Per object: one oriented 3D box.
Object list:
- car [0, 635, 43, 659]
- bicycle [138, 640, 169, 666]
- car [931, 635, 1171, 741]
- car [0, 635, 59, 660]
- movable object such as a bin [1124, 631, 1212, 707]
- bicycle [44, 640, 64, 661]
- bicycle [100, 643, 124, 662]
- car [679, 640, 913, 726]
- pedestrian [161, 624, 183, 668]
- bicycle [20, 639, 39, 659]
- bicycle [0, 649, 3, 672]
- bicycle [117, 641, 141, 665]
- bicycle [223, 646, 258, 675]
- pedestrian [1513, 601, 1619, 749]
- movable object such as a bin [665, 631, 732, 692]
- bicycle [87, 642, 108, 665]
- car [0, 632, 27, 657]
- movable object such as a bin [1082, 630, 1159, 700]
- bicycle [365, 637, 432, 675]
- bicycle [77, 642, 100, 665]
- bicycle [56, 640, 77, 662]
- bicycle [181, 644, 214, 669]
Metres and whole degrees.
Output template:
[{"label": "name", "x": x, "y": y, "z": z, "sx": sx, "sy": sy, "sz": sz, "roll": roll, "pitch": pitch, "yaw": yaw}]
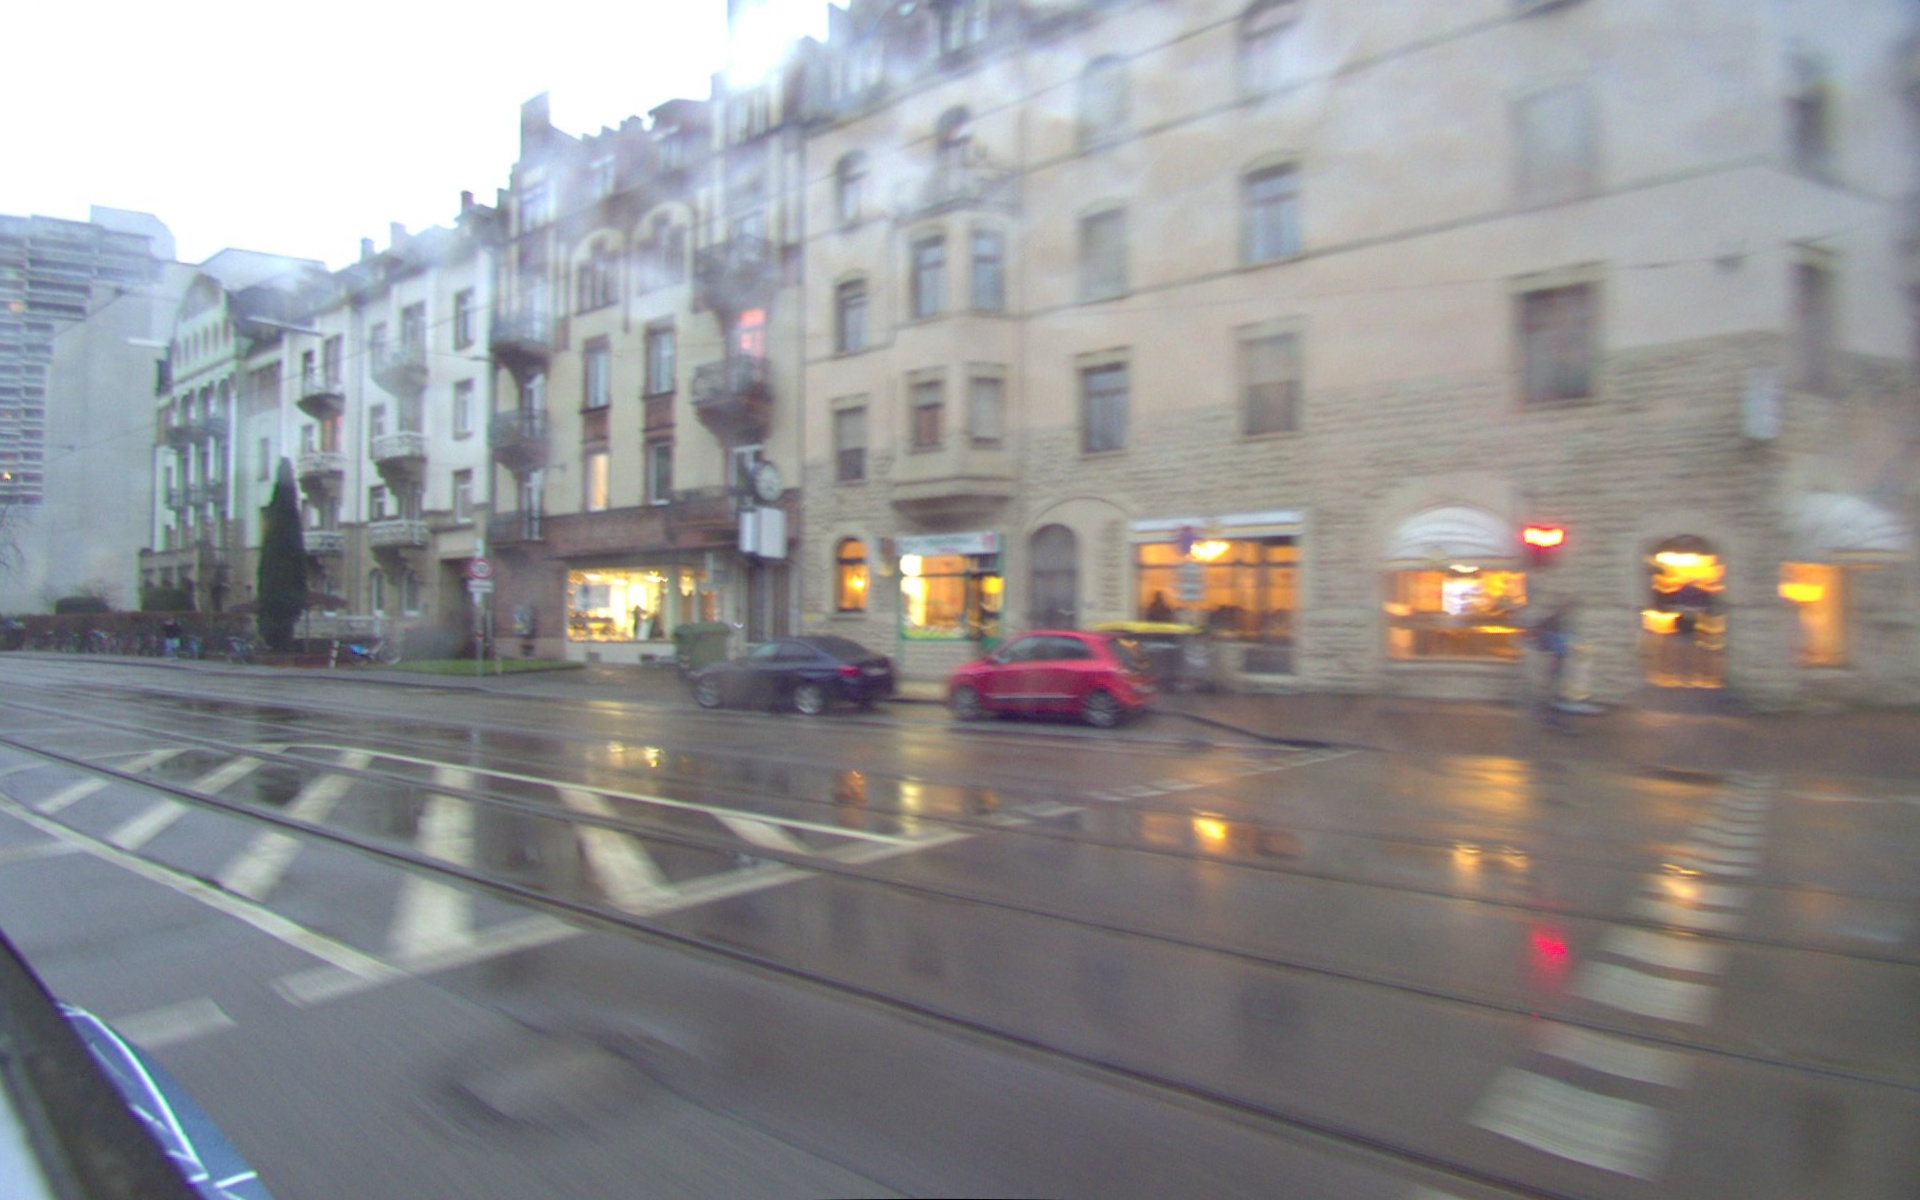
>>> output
[{"label": "car", "x": -56.997, "y": 2.760, "z": 59.860, "sx": 1.724, "sy": 1.424, "sz": 3.795, "roll": -2, "pitch": -3, "yaw": 37}, {"label": "bicycle", "x": -33.896, "y": 2.229, "z": 42.529, "sx": 2.206, "sy": 1.014, "sz": 0.479, "roll": -1, "pitch": 1, "yaw": 38}, {"label": "car", "x": 1.510, "y": 1.401, "z": 17.052, "sx": 3.665, "sy": 1.528, "sz": 1.660, "roll": -1, "pitch": 1, "yaw": 31}, {"label": "car", "x": -54.751, "y": 2.725, "z": 58.411, "sx": 1.724, "sy": 1.424, "sz": 3.795, "roll": -1, "pitch": -2, "yaw": 37}, {"label": "movable object such as a bin", "x": 4.159, "y": 1.339, "z": 20.214, "sx": 1.278, "sy": 1.382, "sz": 1.337, "roll": -1, "pitch": 1, "yaw": 35}, {"label": "bicycle", "x": -45.797, "y": 2.529, "z": 51.149, "sx": 1.878, "sy": 1.014, "sz": 0.430, "roll": -1, "pitch": 1, "yaw": 38}, {"label": "bicycle", "x": -38.156, "y": 2.355, "z": 45.539, "sx": 1.765, "sy": 0.838, "sz": 0.437, "roll": -1, "pitch": 1, "yaw": 38}, {"label": "car", "x": -3.282, "y": 1.548, "z": 19.874, "sx": 4.495, "sy": 1.400, "sz": 1.788, "roll": -1, "pitch": 1, "yaw": 33}, {"label": "pedestrian", "x": -30.400, "y": 1.769, "z": 39.039, "sx": 0.449, "sy": 1.654, "sz": 0.566, "roll": -1, "pitch": 0, "yaw": 41}, {"label": "bicycle", "x": -49.748, "y": 2.627, "z": 54.104, "sx": 1.878, "sy": 1.014, "sz": 0.464, "roll": -1, "pitch": 1, "yaw": 38}, {"label": "bicycle", "x": -37.999, "y": 2.338, "z": 39.320, "sx": 1.706, "sy": 0.896, "sz": 0.642, "roll": -1, "pitch": -4, "yaw": 29}, {"label": "bicycle", "x": -36.608, "y": 2.320, "z": 44.588, "sx": 1.710, "sy": 1.014, "sz": 0.430, "roll": -1, "pitch": 1, "yaw": 38}, {"label": "bicycle", "x": -25.842, "y": 2.154, "z": 36.358, "sx": 2.084, "sy": 0.947, "sz": 0.524, "roll": -1, "pitch": 1, "yaw": 41}, {"label": "pedestrian", "x": 8.167, "y": 0.972, "z": 13.667, "sx": 0.784, "sy": 1.892, "sz": 0.897, "roll": -2, "pitch": 0, "yaw": -18}, {"label": "movable object such as a bin", "x": -6.678, "y": 1.549, "z": 25.896, "sx": 1.071, "sy": 1.442, "sz": 1.226, "roll": -1, "pitch": 1, "yaw": 35}, {"label": "bicycle", "x": -39.708, "y": 2.439, "z": 46.585, "sx": 1.603, "sy": 1.014, "sz": 0.430, "roll": -1, "pitch": 1, "yaw": 38}, {"label": "car", "x": -59.353, "y": 2.755, "z": 61.387, "sx": 1.724, "sy": 1.424, "sz": 3.795, "roll": -1, "pitch": 1, "yaw": 37}, {"label": "movable object such as a bin", "x": 3.415, "y": 1.352, "z": 21.507, "sx": 1.272, "sy": 1.382, "sz": 0.993, "roll": -1, "pitch": 1, "yaw": 35}, {"label": "bicycle", "x": -19.408, "y": 1.925, "z": 35.009, "sx": 0.530, "sy": 1.167, "sz": 1.967, "roll": -1, "pitch": 1, "yaw": 35}, {"label": "bicycle", "x": -41.190, "y": 2.519, "z": 47.826, "sx": 1.878, "sy": 1.014, "sz": 0.430, "roll": -1, "pitch": 1, "yaw": 38}, {"label": "bicycle", "x": -44.160, "y": 2.499, "z": 49.991, "sx": 1.878, "sy": 1.014, "sz": 0.430, "roll": -1, "pitch": 1, "yaw": 38}, {"label": "bicycle", "x": -29.625, "y": 2.176, "z": 39.309, "sx": 2.208, "sy": 0.896, "sz": 0.524, "roll": -1, "pitch": 1, "yaw": 41}]
